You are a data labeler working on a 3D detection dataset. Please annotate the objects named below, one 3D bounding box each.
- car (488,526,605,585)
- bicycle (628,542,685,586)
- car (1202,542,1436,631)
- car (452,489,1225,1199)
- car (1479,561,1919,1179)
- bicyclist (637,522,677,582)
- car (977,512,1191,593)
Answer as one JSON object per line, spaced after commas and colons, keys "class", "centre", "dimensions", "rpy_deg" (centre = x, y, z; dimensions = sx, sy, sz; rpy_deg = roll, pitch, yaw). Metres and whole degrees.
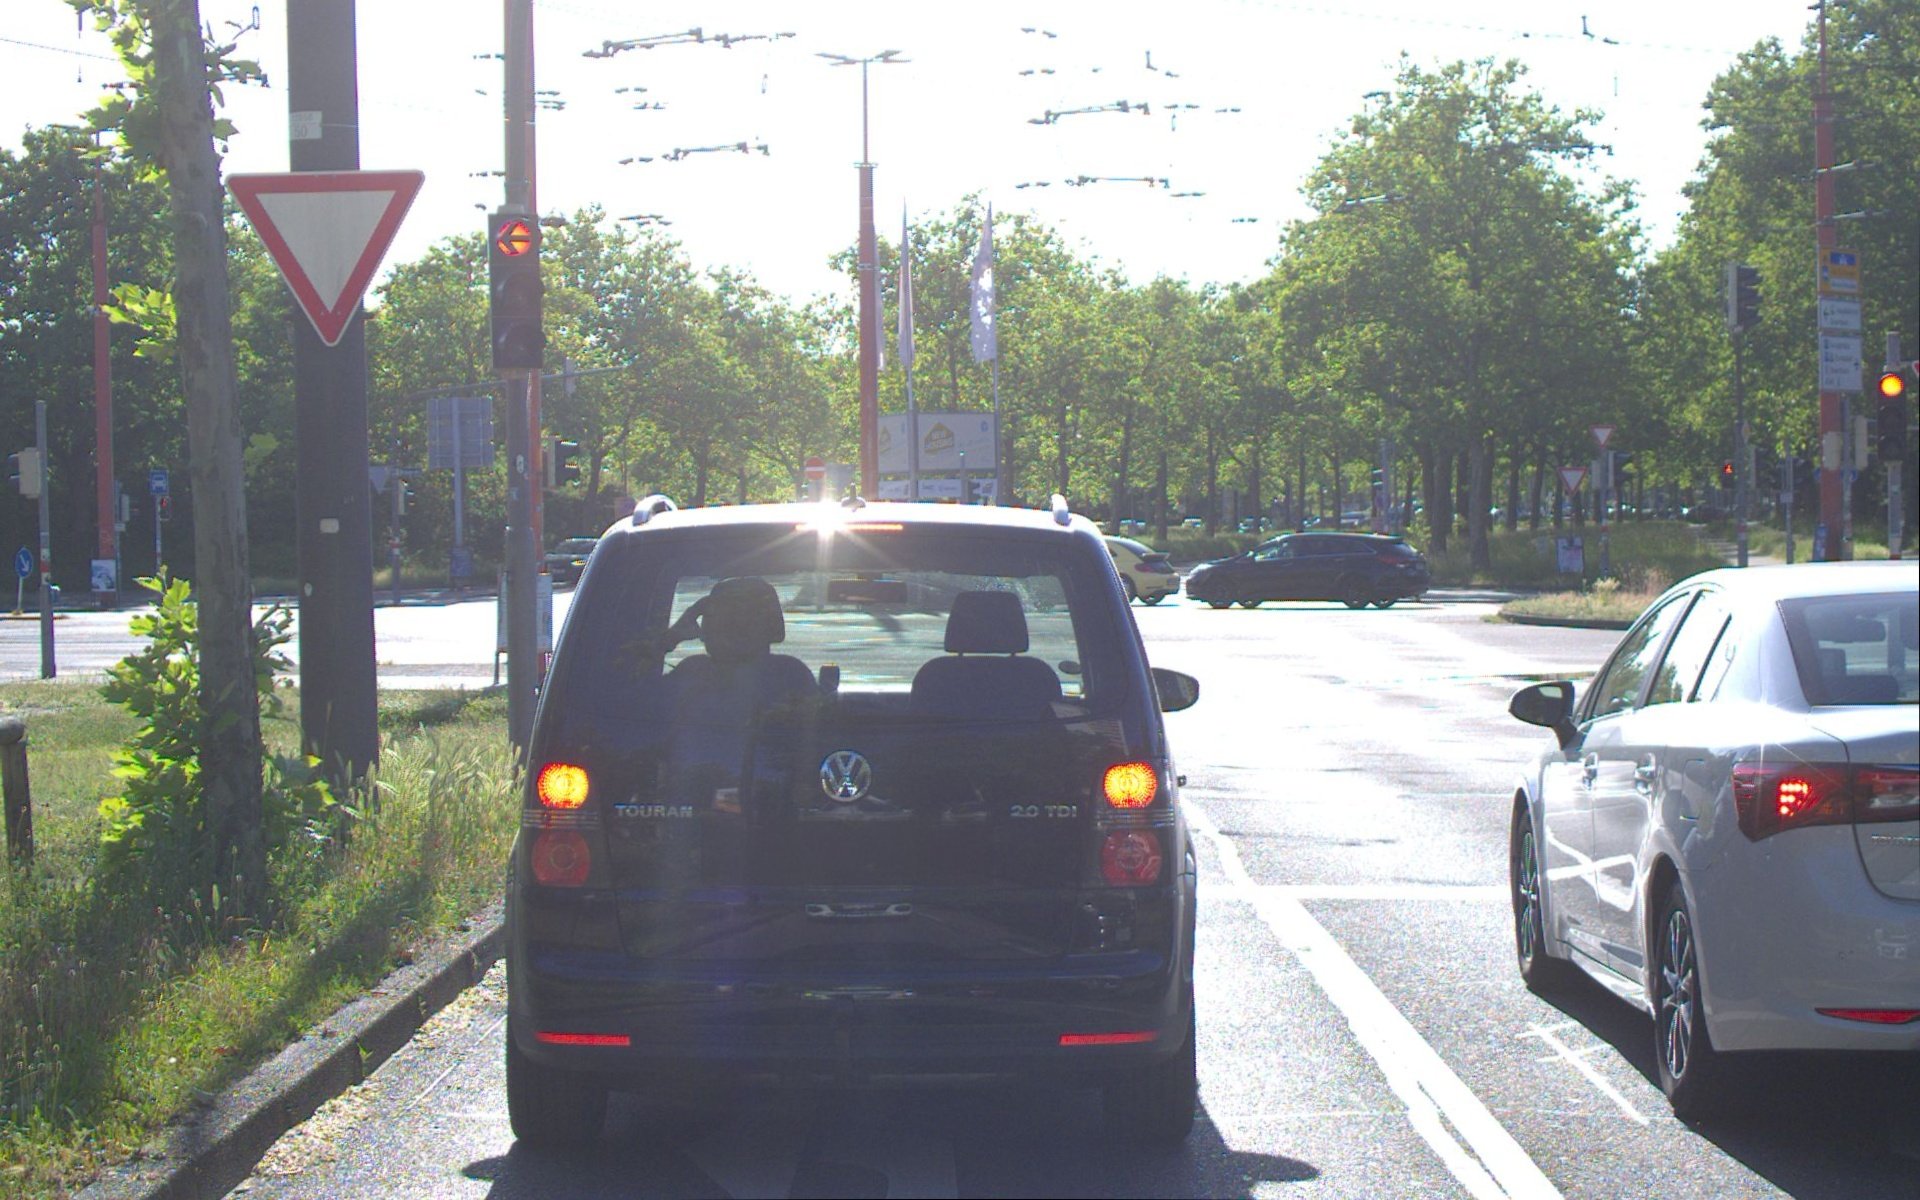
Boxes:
{"class": "car", "centre": [-12.404, -1.343, 103.254], "dimensions": [1.653, 1.744, 4.127], "rpy_deg": [1, 1, 23]}
{"class": "bicycle", "centre": [-9.644, -1.147, 109.336], "dimensions": [0.977, 1.384, 2.978], "rpy_deg": [0, 1, 12]}
{"class": "car", "centre": [6.930, -0.283, 66.395], "dimensions": [4.208, 1.675, 1.655], "rpy_deg": [1, 1, 24]}
{"class": "car", "centre": [-0.258, 0.537, 9.982], "dimensions": [1.738, 1.597, 4.326], "rpy_deg": [1, 1, 1]}
{"class": "car", "centre": [2.752, 0.617, 10.160], "dimensions": [1.799, 1.435, 4.326], "rpy_deg": [1, 1, 1]}
{"class": "bicyclist", "centre": [-9.637, -1.521, 109.371], "dimensions": [0.977, 1.897, 1.050], "rpy_deg": [0, 1, 12]}
{"class": "car", "centre": [2.617, -1.026, 72.781], "dimensions": [4.209, 1.675, 1.654], "rpy_deg": [1, 1, 26]}
